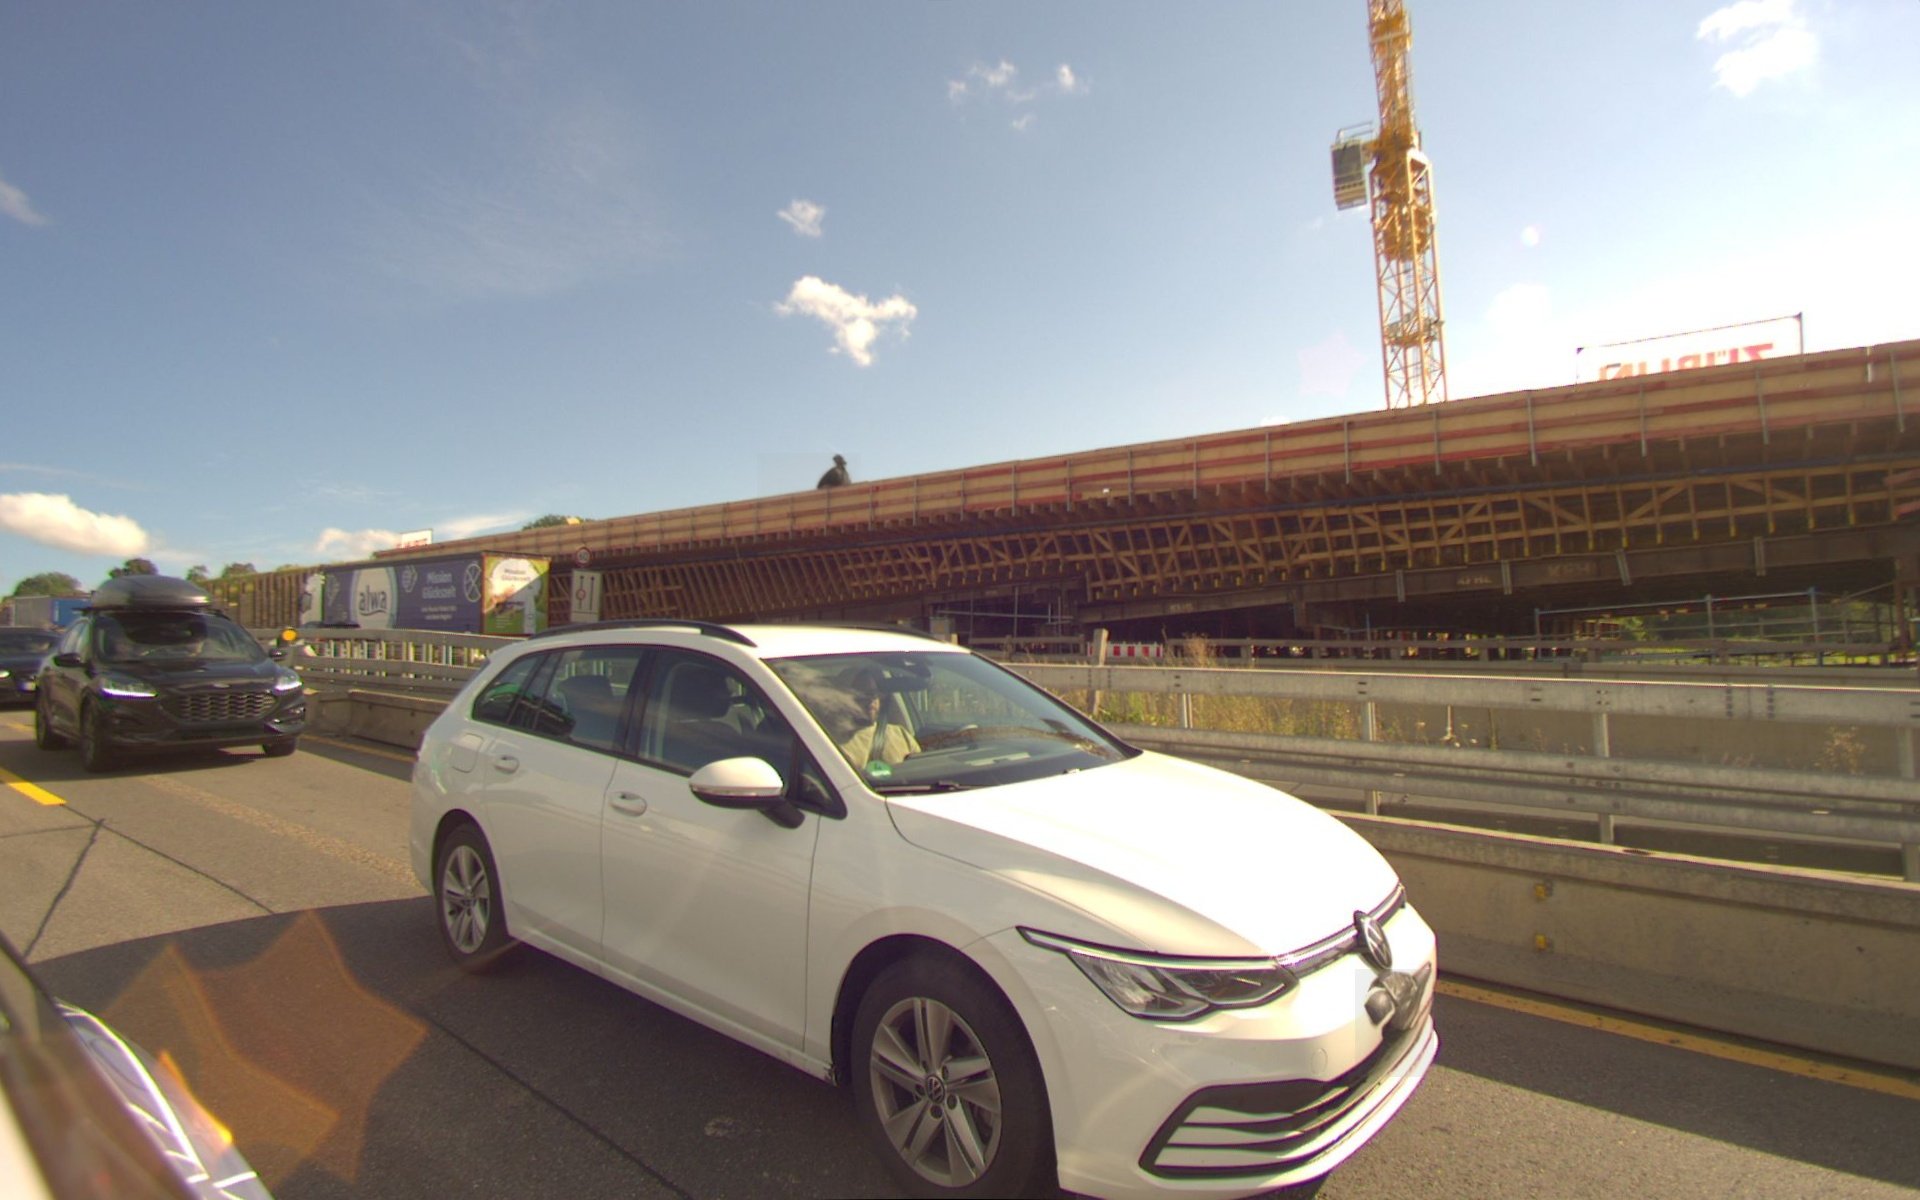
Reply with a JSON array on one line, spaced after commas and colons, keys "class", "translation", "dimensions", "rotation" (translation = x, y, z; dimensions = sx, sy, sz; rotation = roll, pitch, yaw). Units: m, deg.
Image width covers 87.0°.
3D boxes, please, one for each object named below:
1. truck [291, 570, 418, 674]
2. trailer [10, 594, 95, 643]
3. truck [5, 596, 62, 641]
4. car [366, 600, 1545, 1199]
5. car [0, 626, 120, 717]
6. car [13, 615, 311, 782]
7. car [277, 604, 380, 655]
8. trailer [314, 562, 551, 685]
[{"class": "truck", "translation": [-26.114, 0.928, 43.572], "dimensions": [5.962, 4.169, 2.686], "rotation": [-1, -1, 38]}, {"class": "trailer", "translation": [-72.176, 1.448, 80.352], "dimensions": [13.512, 3.694, 2.835], "rotation": [-1, -1, 39]}, {"class": "truck", "translation": [-77.160, 1.532, 84.289], "dimensions": [4.805, 3.656, 2.814], "rotation": [-1, -1, 39]}, {"class": "car", "translation": [-0.479, 0.804, 3.910], "dimensions": [4.514, 1.502, 1.751], "rotation": [-1, -3, 41]}, {"class": "car", "translation": [-17.241, 1.235, 18.579], "dimensions": [4.499, 1.441, 1.925], "rotation": [0, -1, 39]}, {"class": "car", "translation": [-9.197, 0.974, 11.535], "dimensions": [4.380, 1.554, 1.781], "rotation": [-1, -3, 40]}, {"class": "car", "translation": [-23.302, 1.045, 37.303], "dimensions": [4.322, 1.780, 1.905], "rotation": [-1, -1, 39]}, {"class": "trailer", "translation": [-20.998, 0.875, 39.598], "dimensions": [13.790, 4.187, 2.662], "rotation": [-1, -1, 38]}]
